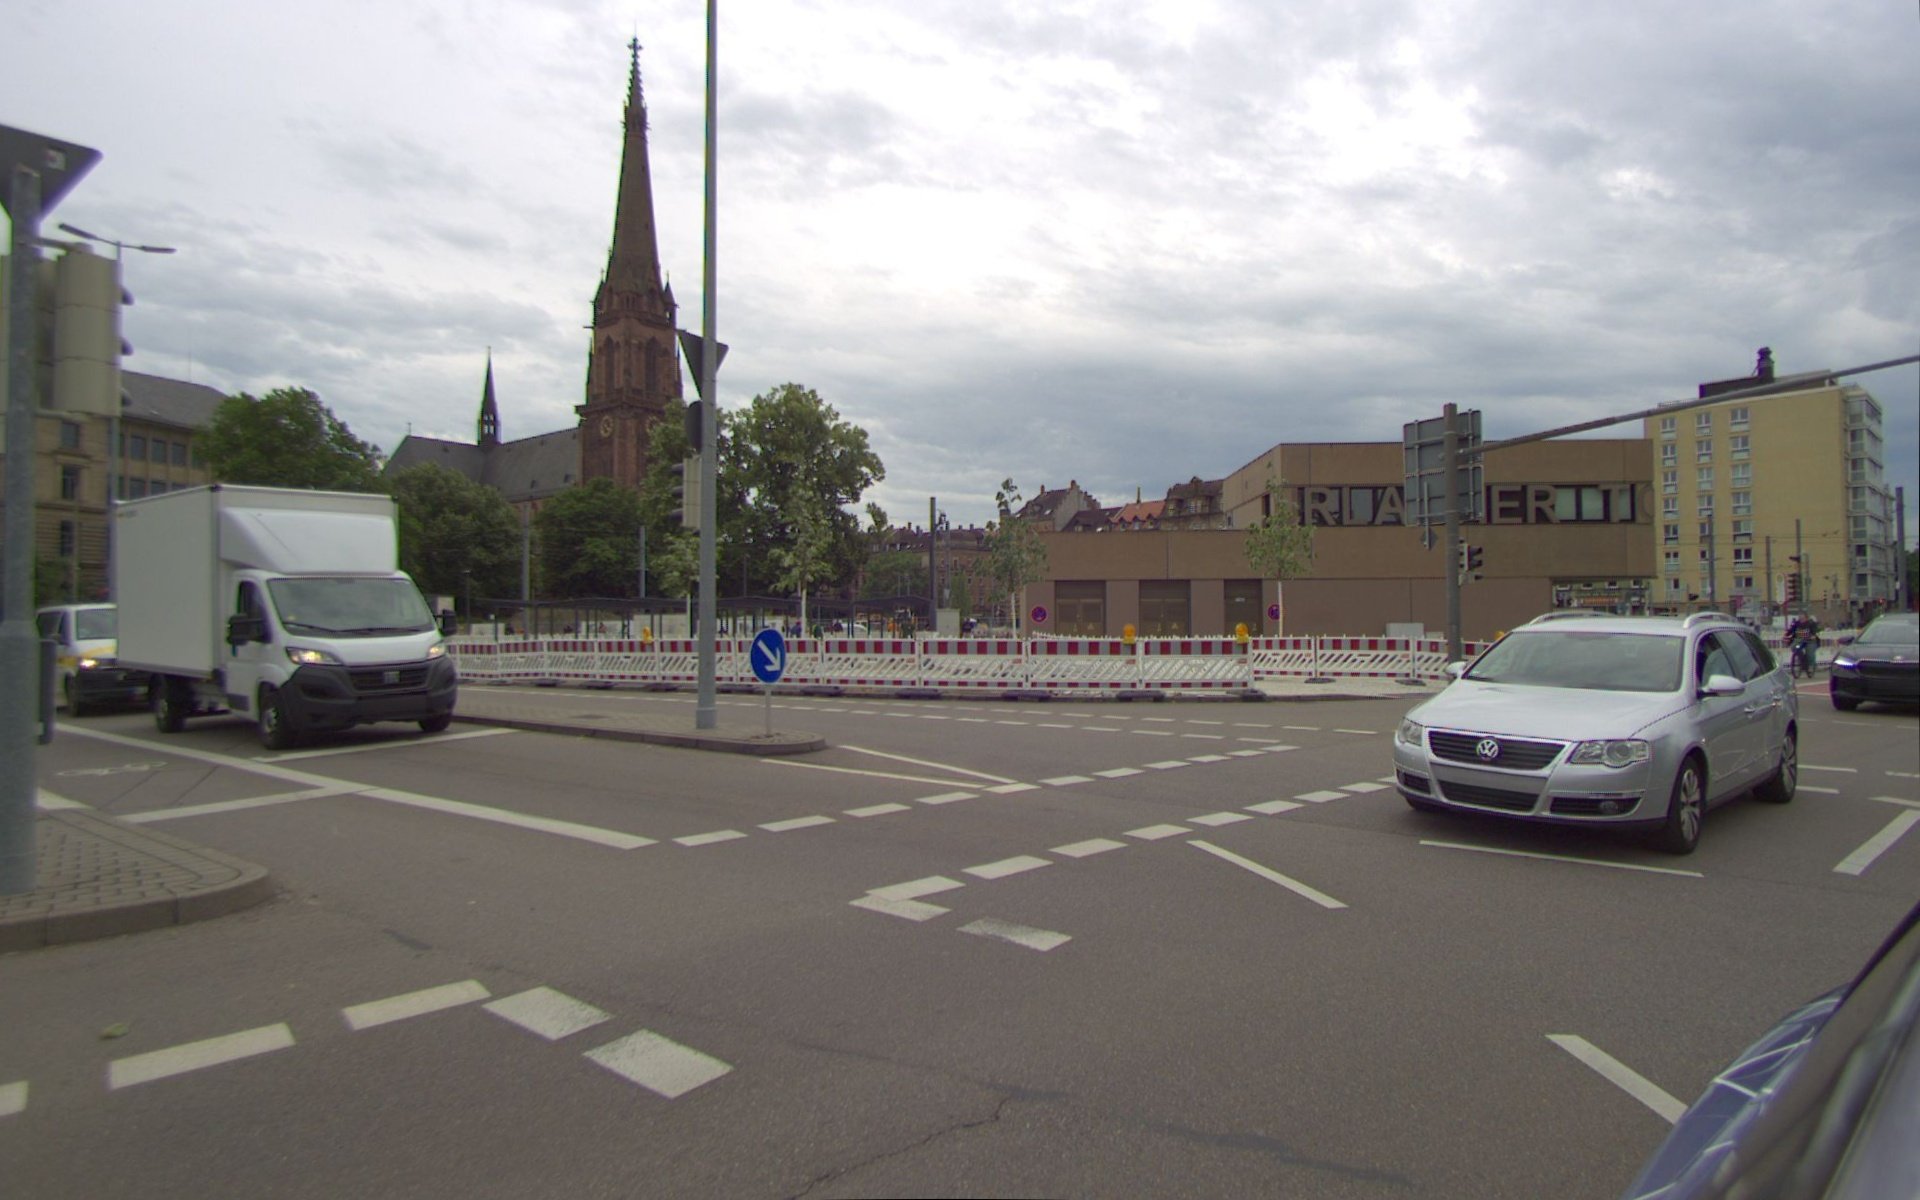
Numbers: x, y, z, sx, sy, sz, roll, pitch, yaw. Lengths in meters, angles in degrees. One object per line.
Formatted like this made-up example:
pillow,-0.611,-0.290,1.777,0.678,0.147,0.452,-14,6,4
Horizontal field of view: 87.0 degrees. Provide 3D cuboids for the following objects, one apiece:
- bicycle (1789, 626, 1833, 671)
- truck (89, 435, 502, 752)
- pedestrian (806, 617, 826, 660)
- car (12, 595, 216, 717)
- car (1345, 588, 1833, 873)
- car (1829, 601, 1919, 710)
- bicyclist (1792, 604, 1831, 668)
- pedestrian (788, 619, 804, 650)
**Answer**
bicycle,22.762,1.272,27.053,1.836,1.144,0.693,2,-2,-43
truck,-9.440,0.030,14.072,6.810,3.455,2.528,-3,-1,36
pedestrian,-5.755,1.548,40.537,0.612,1.684,0.499,2,-2,-33
car,-15.767,0.974,18.770,4.687,1.943,1.895,-2,0,37
car,4.959,0.752,7.715,4.445,1.570,1.828,1,-1,-39
car,16.191,0.853,16.688,4.407,1.645,1.912,0,-1,-37
bicyclist,22.760,0.957,27.059,0.869,1.656,0.693,2,-2,-43
pedestrian,-6.489,1.361,40.115,0.571,1.239,0.480,1,-1,-12
